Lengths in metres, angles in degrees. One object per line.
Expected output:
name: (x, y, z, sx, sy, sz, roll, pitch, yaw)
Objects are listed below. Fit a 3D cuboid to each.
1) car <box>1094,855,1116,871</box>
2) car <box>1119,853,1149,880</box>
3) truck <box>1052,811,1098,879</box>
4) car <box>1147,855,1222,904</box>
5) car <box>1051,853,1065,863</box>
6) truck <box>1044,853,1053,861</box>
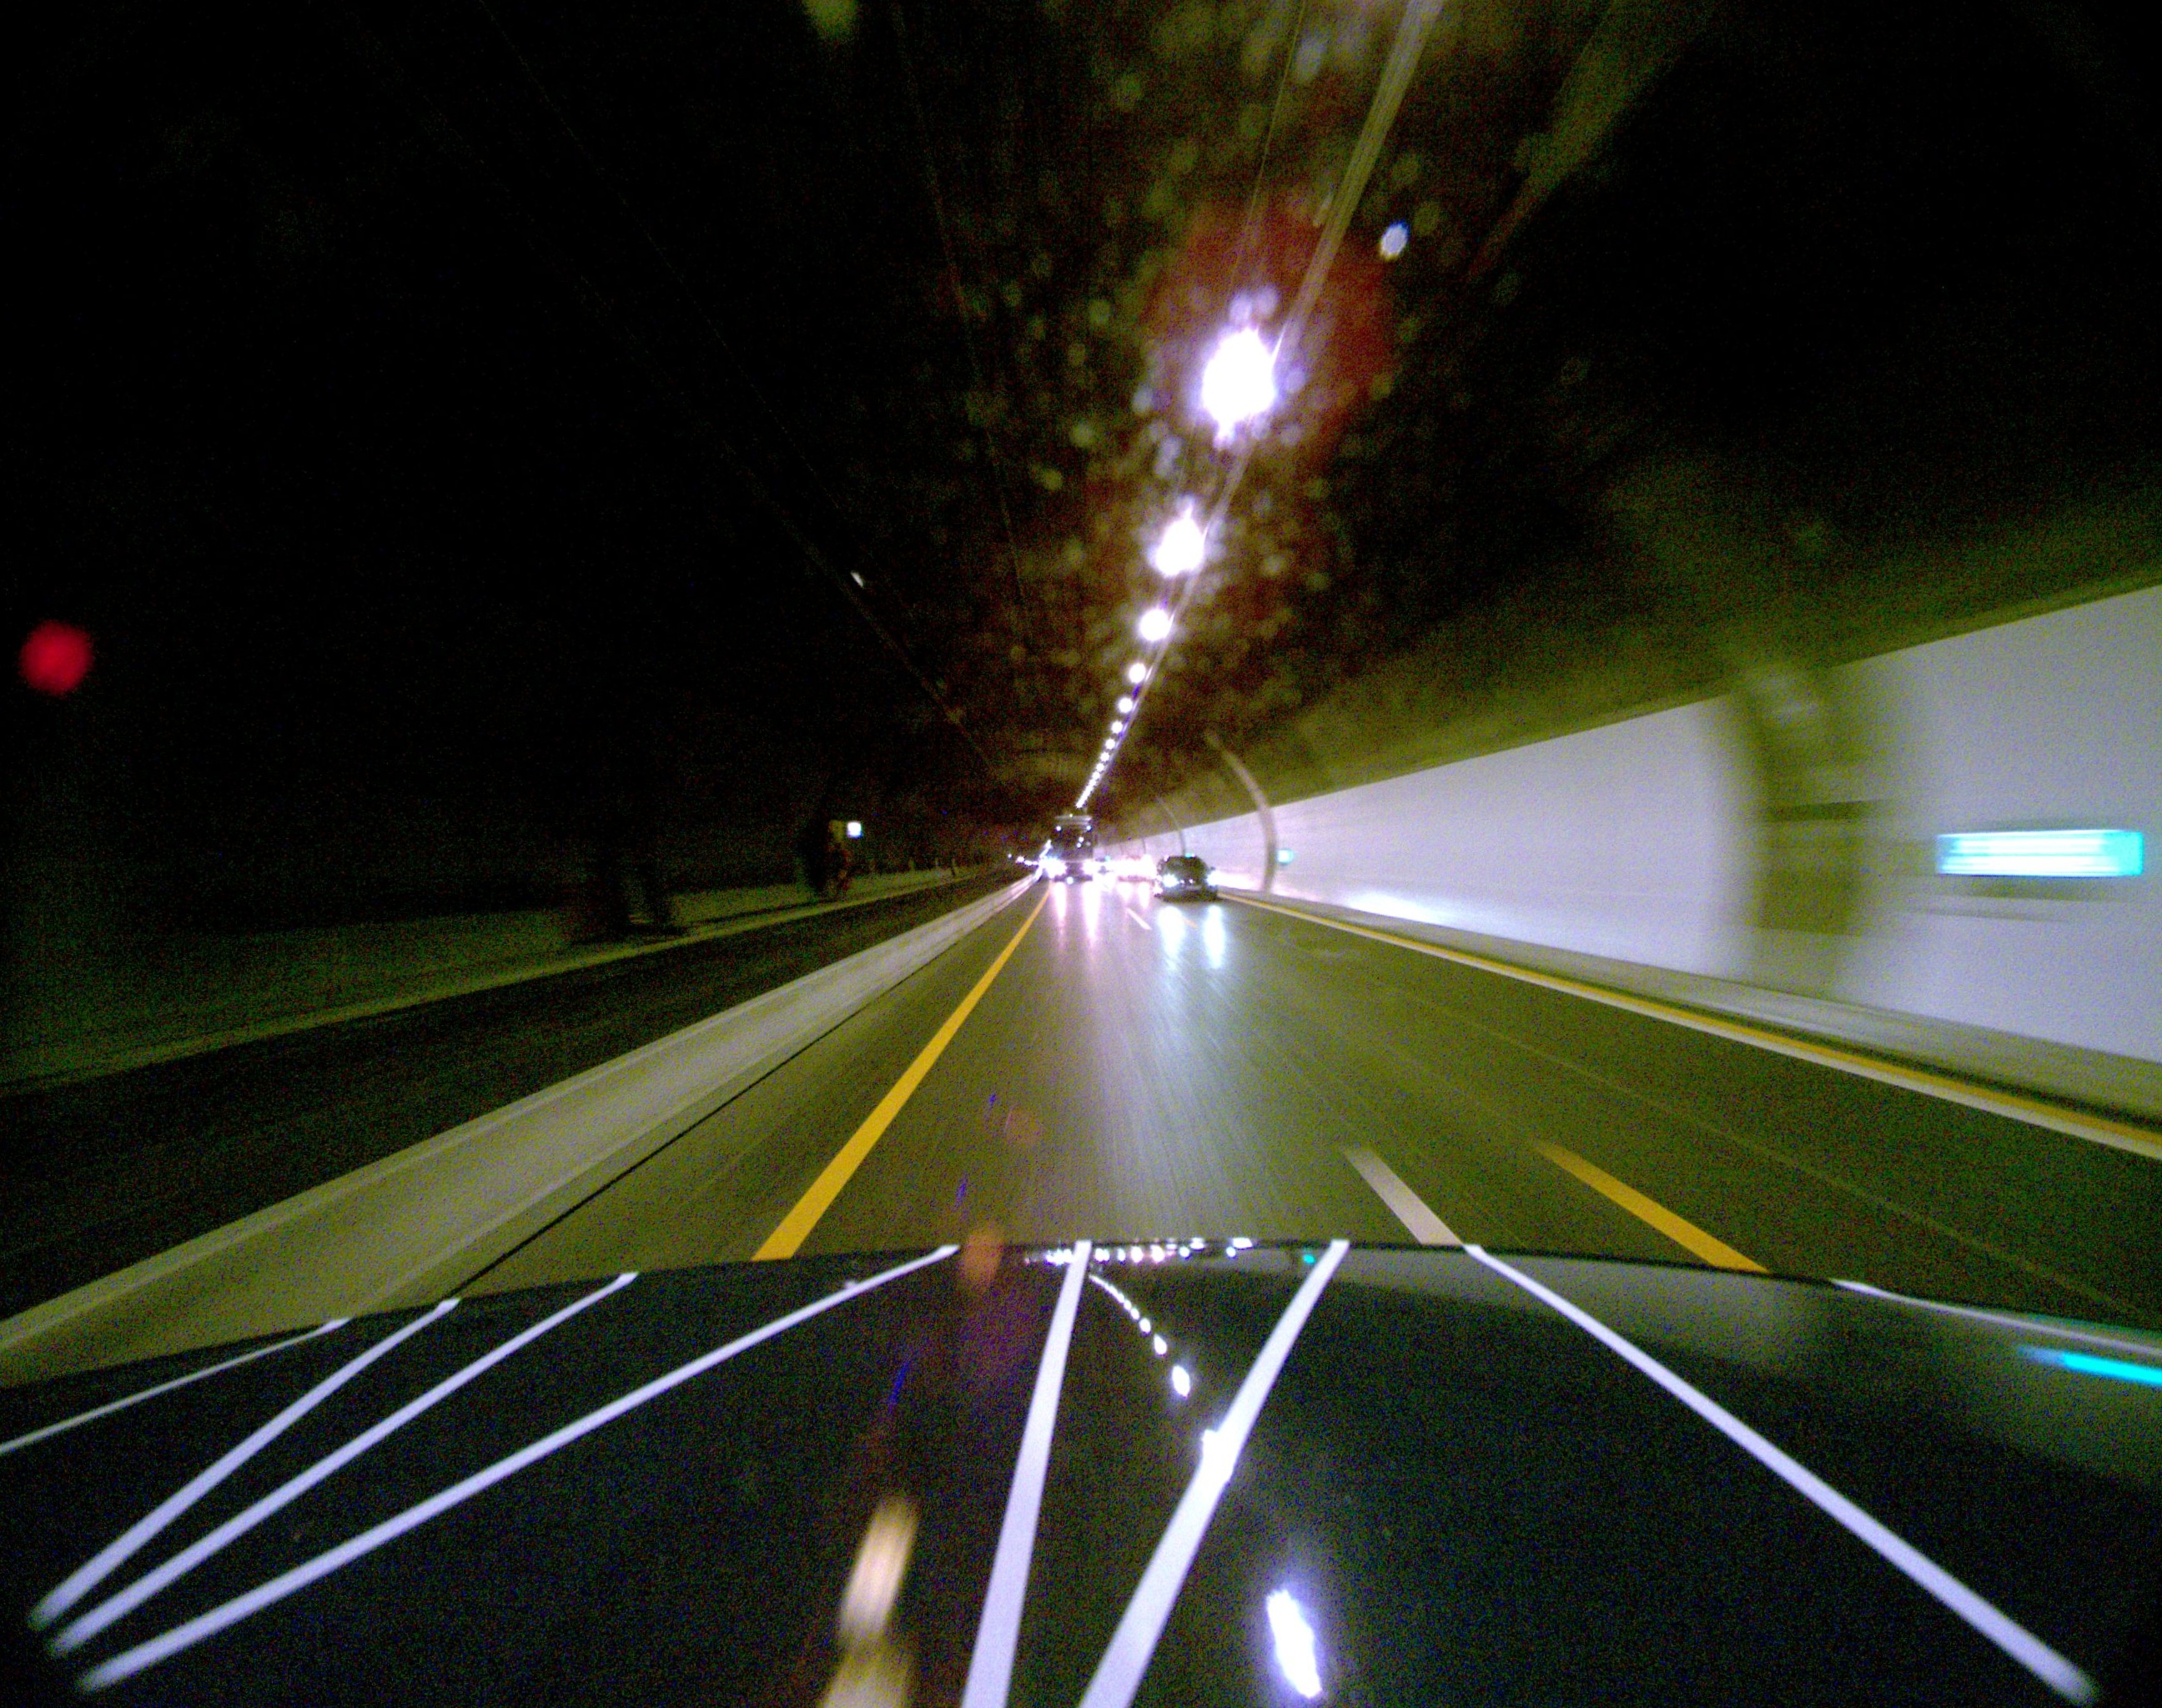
car: (2.253, 0.846, 72.165, 1.909, 1.412, 4.060, -2, 0, -1)
car: (3.157, 0.747, 45.402, 1.531, 1.508, 2.651, -2, 0, -1)
truck: (-0.384, -0.552, 51.009, 2.742, 4.127, 8.099, -2, 0, 0)
car: (3.413, 0.790, 26.018, 1.782, 1.430, 4.882, -2, 0, -1)
car: (-3.590, 0.601, 118.051, 1.999, 1.524, 3.999, -2, 0, -2)
truck: (-10.819, 0.965, 253.551, 2.610, 2.723, 6.396, -2, 0, -3)
